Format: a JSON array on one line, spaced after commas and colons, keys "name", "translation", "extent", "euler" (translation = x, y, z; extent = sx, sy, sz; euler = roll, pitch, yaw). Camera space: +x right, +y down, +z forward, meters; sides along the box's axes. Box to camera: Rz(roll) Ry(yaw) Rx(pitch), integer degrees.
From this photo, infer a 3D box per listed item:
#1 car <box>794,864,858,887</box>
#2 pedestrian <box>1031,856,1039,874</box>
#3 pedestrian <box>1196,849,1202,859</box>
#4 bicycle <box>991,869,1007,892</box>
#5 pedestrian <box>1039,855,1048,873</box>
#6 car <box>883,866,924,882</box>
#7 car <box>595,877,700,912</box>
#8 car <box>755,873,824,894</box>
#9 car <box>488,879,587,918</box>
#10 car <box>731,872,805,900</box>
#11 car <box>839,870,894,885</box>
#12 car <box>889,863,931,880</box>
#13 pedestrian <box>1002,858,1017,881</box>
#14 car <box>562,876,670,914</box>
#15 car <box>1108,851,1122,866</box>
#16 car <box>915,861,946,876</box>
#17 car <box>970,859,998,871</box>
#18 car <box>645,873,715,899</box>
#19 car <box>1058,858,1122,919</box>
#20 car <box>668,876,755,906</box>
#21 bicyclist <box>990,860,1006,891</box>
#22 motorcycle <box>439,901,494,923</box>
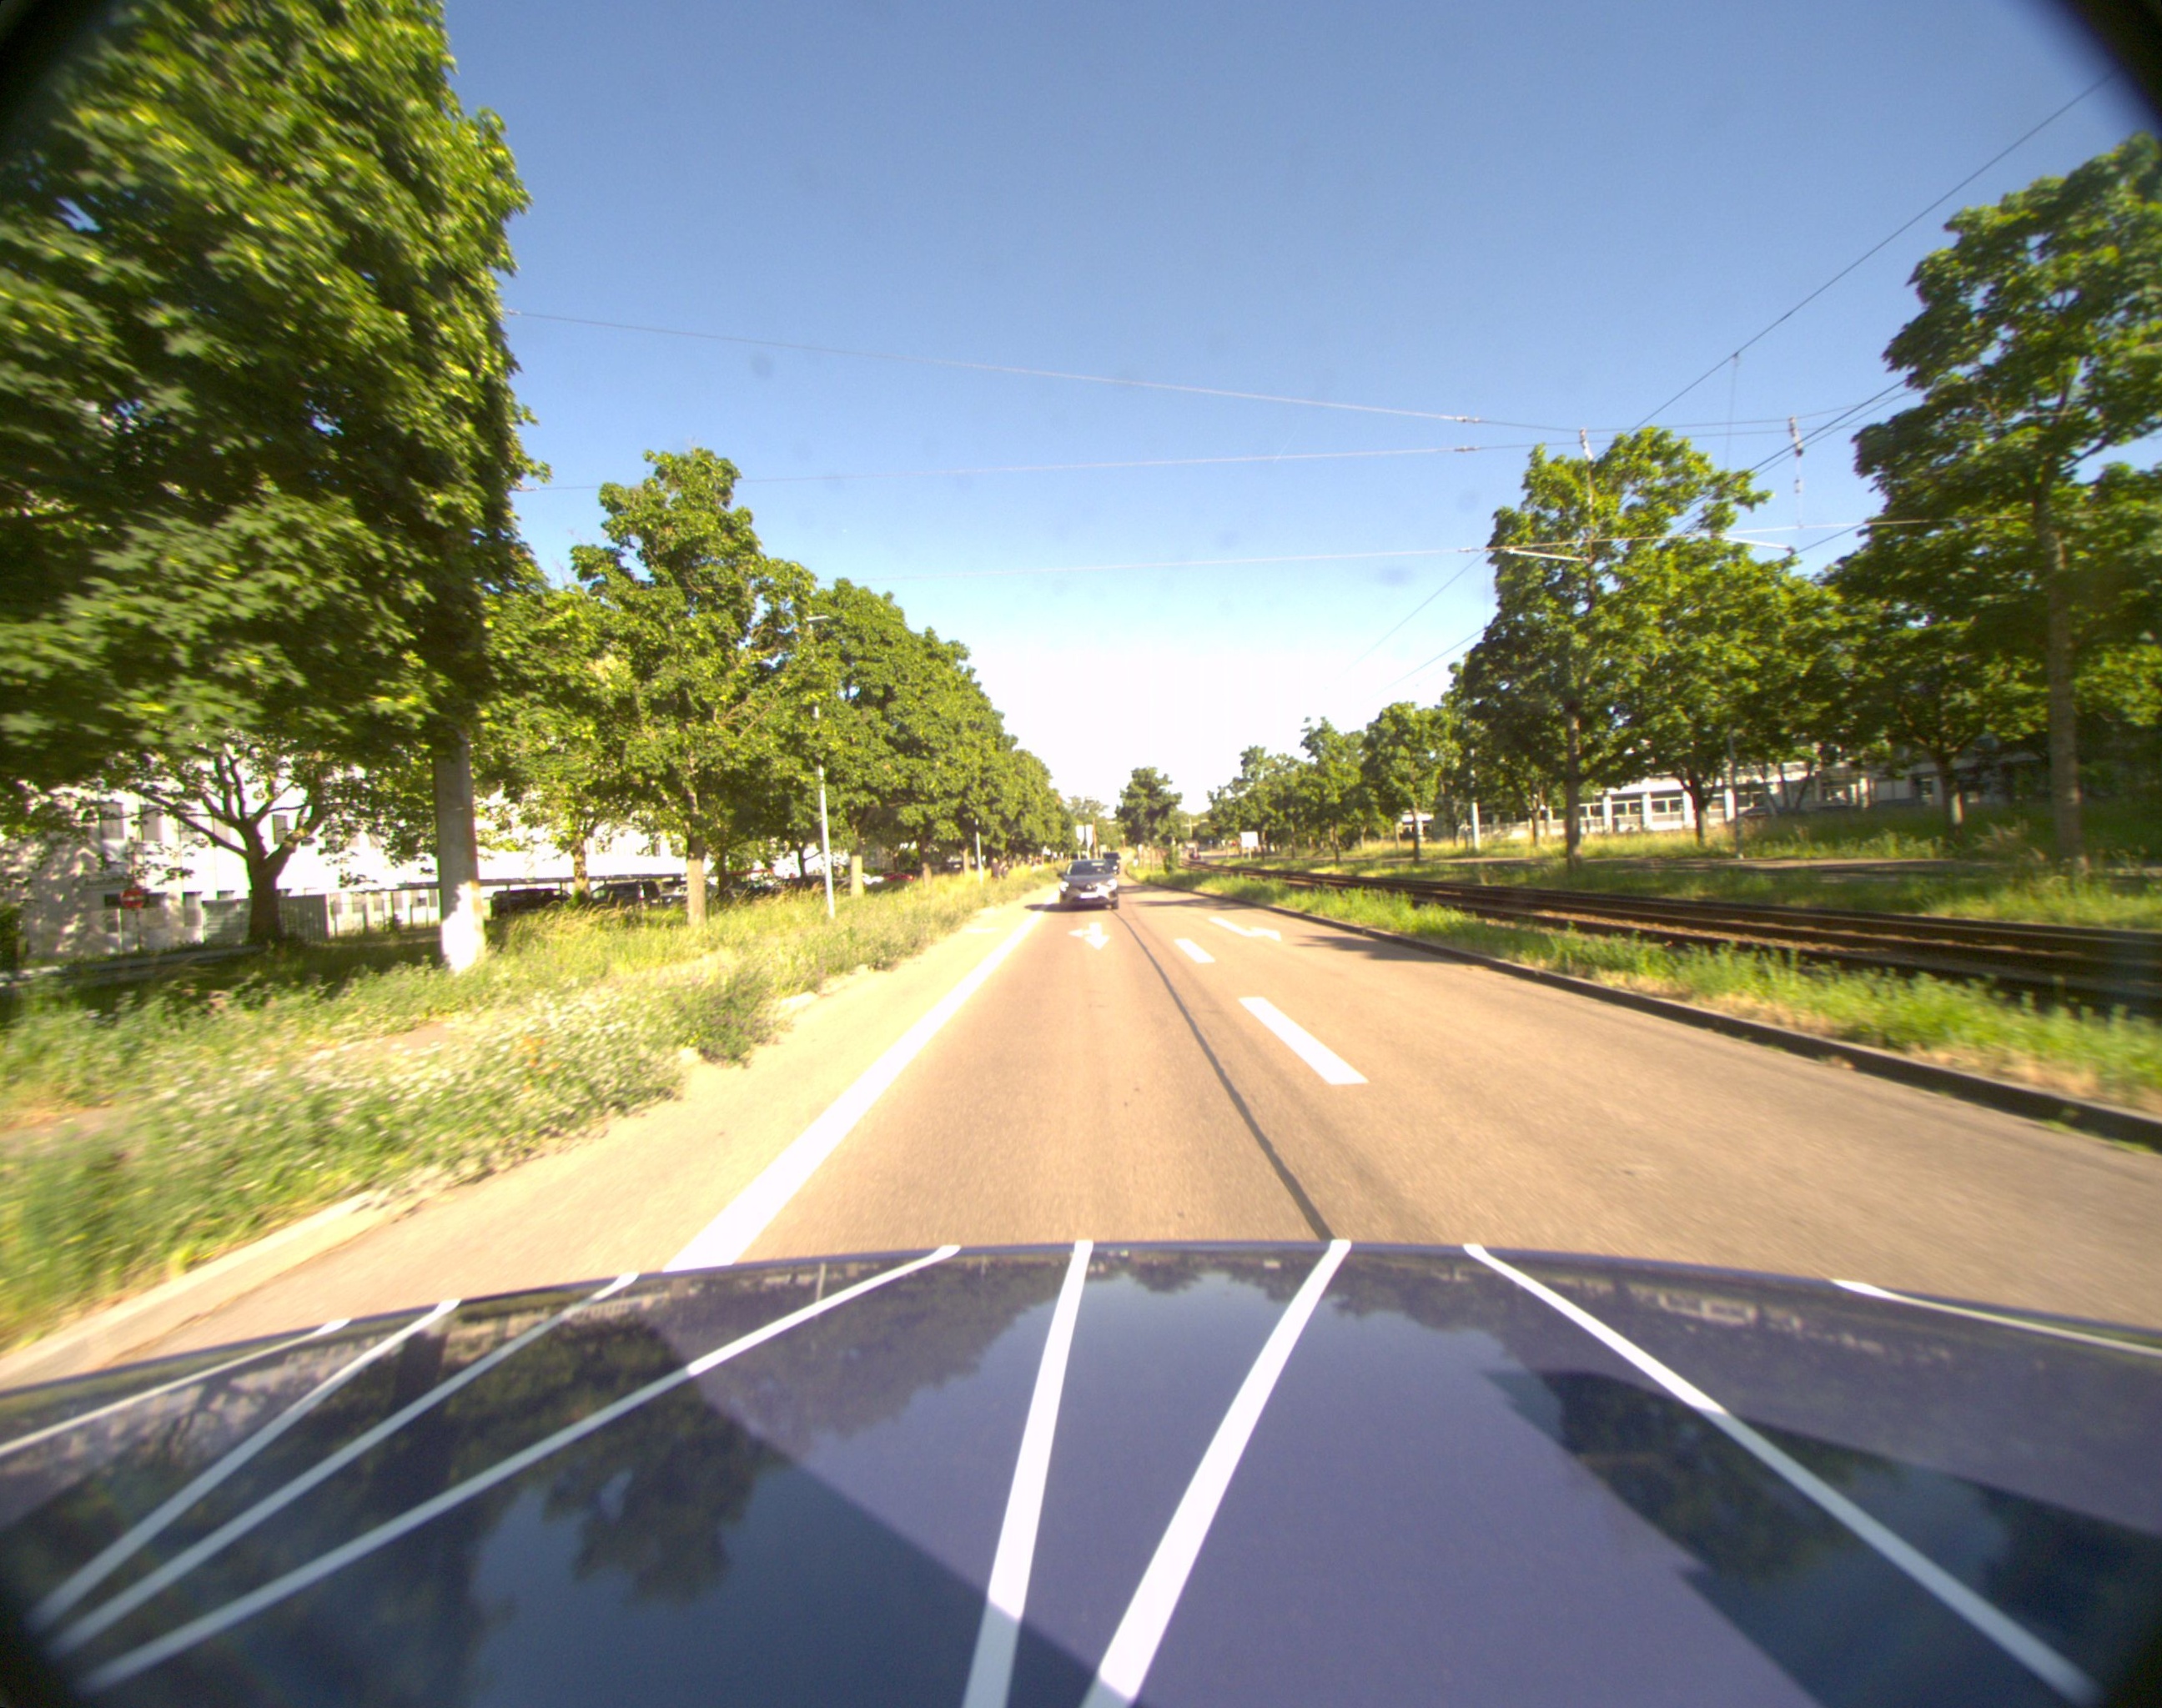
[{"name": "car", "translation": [-20.570, 1.733, 61.336], "extent": [4.403, 1.587, 1.884], "euler": [-4, 0, 0]}, {"name": "pedestrian", "translation": [-5.004, 1.215, 82.715], "extent": [0.709, 1.919, 0.816], "euler": [-4, 1, 2]}, {"name": "pedestrian", "translation": [20.601, -0.047, 132.891], "extent": [0.785, 1.741, 0.782], "euler": [-4, 1, 3]}, {"name": "bicycle", "translation": [-4.592, 1.486, 42.561], "extent": [0.484, 1.197, 2.144], "euler": [-4, 0, 3]}, {"name": "pedestrian", "translation": [-4.117, 1.054, 82.760], "extent": [0.709, 1.906, 0.817], "euler": [-4, 1, 4]}, {"name": "car", "translation": [-19.555, 2.193, 83.851], "extent": [4.243, 1.527, 1.765], "euler": [-3, 0, -6]}, {"name": "car", "translation": [-21.808, 2.025, 38.315], "extent": [4.365, 1.450, 1.689], "euler": [-4, 0, 6]}, {"name": "car", "translation": [-21.586, 2.186, 56.345], "extent": [4.301, 1.316, 1.941], "euler": [-3, -1, 7]}, {"name": "car", "translation": [-33.190, 2.677, 46.463], "extent": [4.595, 2.002, 1.958], "euler": [-4, 0, 4]}, {"name": "car", "translation": [-20.409, 2.101, 49.637], "extent": [4.004, 1.516, 1.706], "euler": [-4, 0, 0]}, {"name": "car", "translation": [-20.436, 2.240, 72.590], "extent": [4.709, 1.263, 1.808], "euler": [-3, -1, 0]}, {"name": "car", "translation": [-19.396, 1.985, 86.223], "extent": [4.348, 1.690, 1.765], "euler": [-3, 0, -6]}, {"name": "pedestrian", "translation": [-5.127, 1.122, 54.438], "extent": [0.826, 1.560, 0.762], "euler": [-4, 1, 4]}, {"name": "car", "translation": [-22.137, 1.941, 36.237], "extent": [4.039, 1.496, 1.738], "euler": [-4, 0, 3]}, {"name": "car", "translation": [4.268, 0.529, 95.163], "extent": [1.555, 1.764, 3.457], "euler": [-3, 0, 3]}, {"name": "car", "translation": [-18.941, 1.780, 95.750], "extent": [3.977, 1.629, 1.727], "euler": [-4, 0, 43]}, {"name": "car", "translation": [-16.804, 1.931, 131.590], "extent": [2.083, 1.865, 5.174], "euler": [-4, 0, -41]}, {"name": "car", "translation": [-33.902, 2.693, 64.280], "extent": [4.760, 1.938, 1.975], "euler": [-3, 0, 2]}, {"name": "car", "translation": [0.364, 0.973, 23.474], "extent": [1.750, 1.585, 4.247], "euler": [-2, 1, 3]}, {"name": "car", "translation": [-21.686, 2.169, 44.667], "extent": [4.174, 1.423, 1.825], "euler": [-4, 0, 6]}, {"name": "bicyclist", "translation": [-4.637, 1.196, 42.529], "extent": [0.684, 1.710, 0.902], "euler": [-4, 1, 3]}, {"name": "motorcycle", "translation": [-45.139, 4.259, 55.846], "extent": [3.042, 1.313, 1.016], "euler": [-4, 0, -3]}]
